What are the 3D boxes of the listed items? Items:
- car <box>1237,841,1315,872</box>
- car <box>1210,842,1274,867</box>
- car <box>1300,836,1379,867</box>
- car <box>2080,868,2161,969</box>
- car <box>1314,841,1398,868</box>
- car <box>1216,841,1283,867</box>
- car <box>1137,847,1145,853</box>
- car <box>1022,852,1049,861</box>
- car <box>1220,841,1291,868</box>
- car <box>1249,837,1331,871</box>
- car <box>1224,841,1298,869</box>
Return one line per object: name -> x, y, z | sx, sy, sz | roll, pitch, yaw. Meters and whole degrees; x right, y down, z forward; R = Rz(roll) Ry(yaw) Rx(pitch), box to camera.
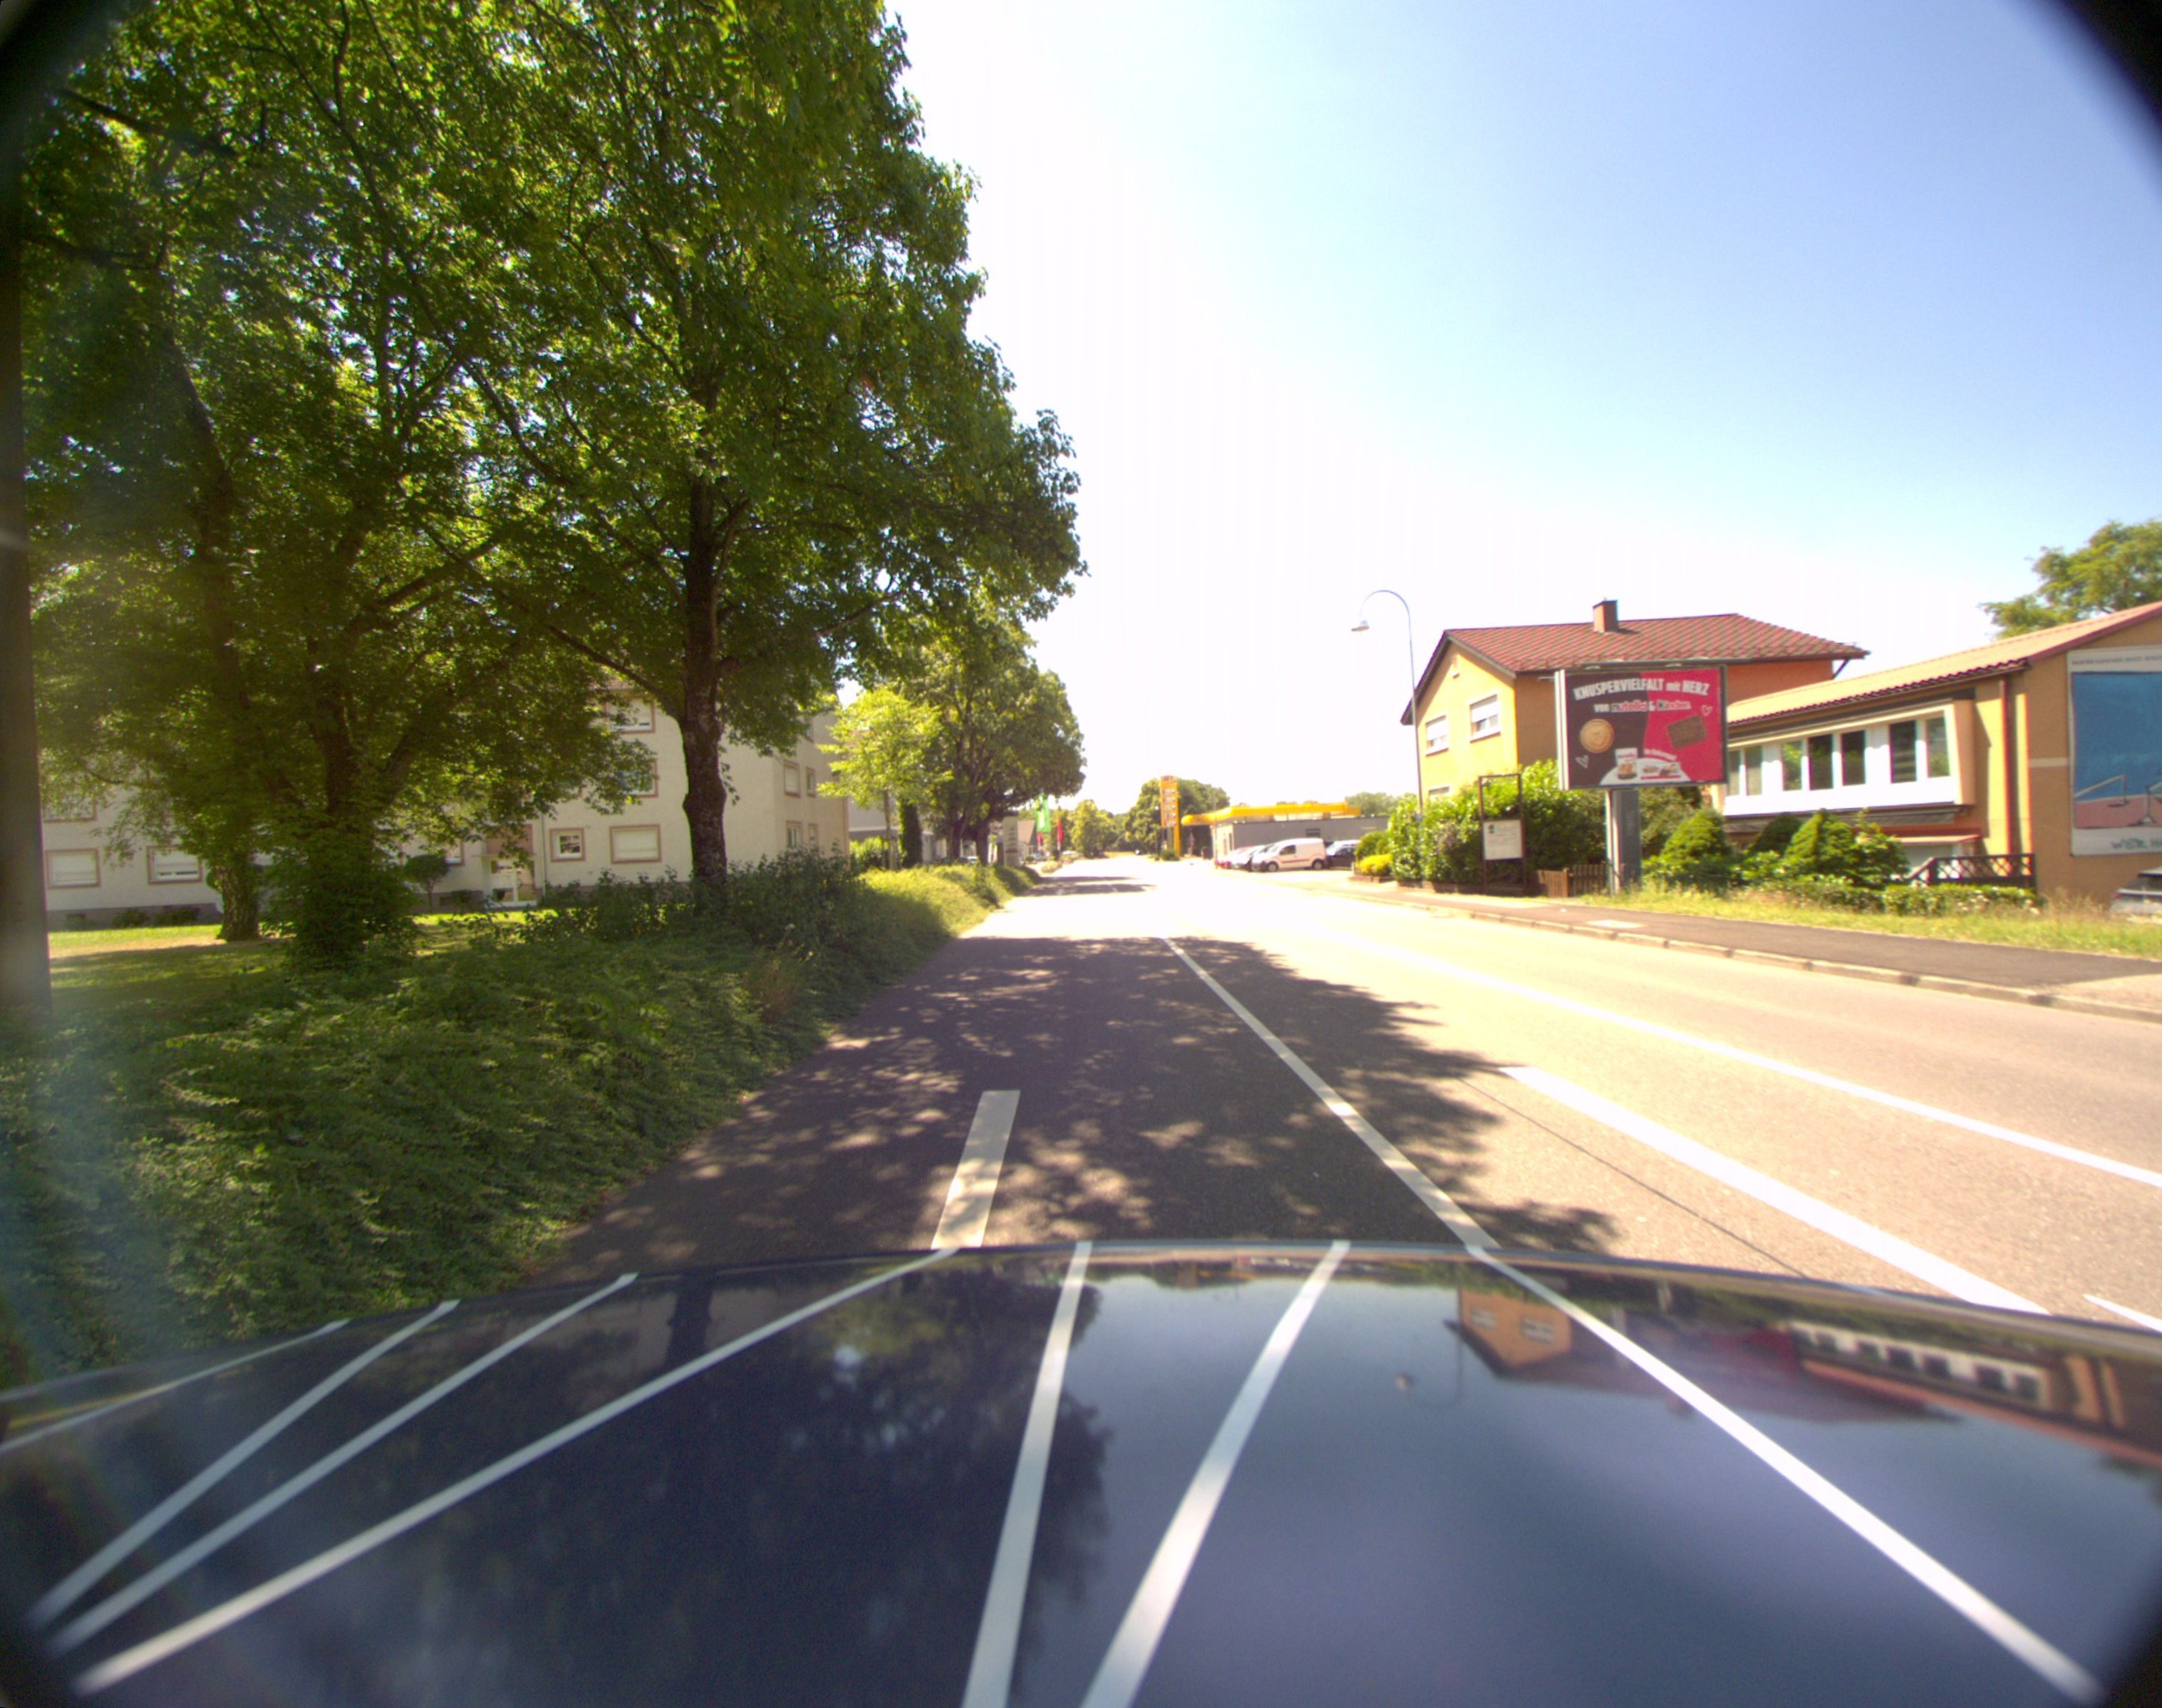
car -> 11.910, 0.136, 46.562 | 4.246, 1.750, 1.874 | -2, 1, -5
car -> 12.213, 0.048, 57.907 | 4.402, 1.750, 1.874 | -2, 1, -5
car -> 16.512, -0.144, 48.604 | 4.402, 1.815, 1.874 | -2, 1, -5
car -> 19.780, 1.026, 12.394 | 4.224, 1.599, 1.772 | -1, 1, 7
car -> 16.766, 0.021, 46.428 | 4.402, 1.554, 1.874 | -2, 1, -5
car -> 12.245, -0.030, 55.480 | 4.402, 1.750, 1.874 | -2, 1, -5
car -> 16.030, -1.136, 202.142 | 1.808, 1.552, 4.064 | -2, 1, 7
car -> -7.544, 0.414, 126.040 | 4.119, 1.521, 1.775 | -1, 1, 28
car -> 12.196, 0.025, 53.252 | 4.402, 1.750, 1.874 | -2, 1, -5
car -> 12.162, -0.010, 44.414 | 4.191, 1.858, 1.874 | -2, 1, -5
car -> 12.055, 0.061, 51.061 | 4.402, 1.750, 1.874 | -2, 1, -5
